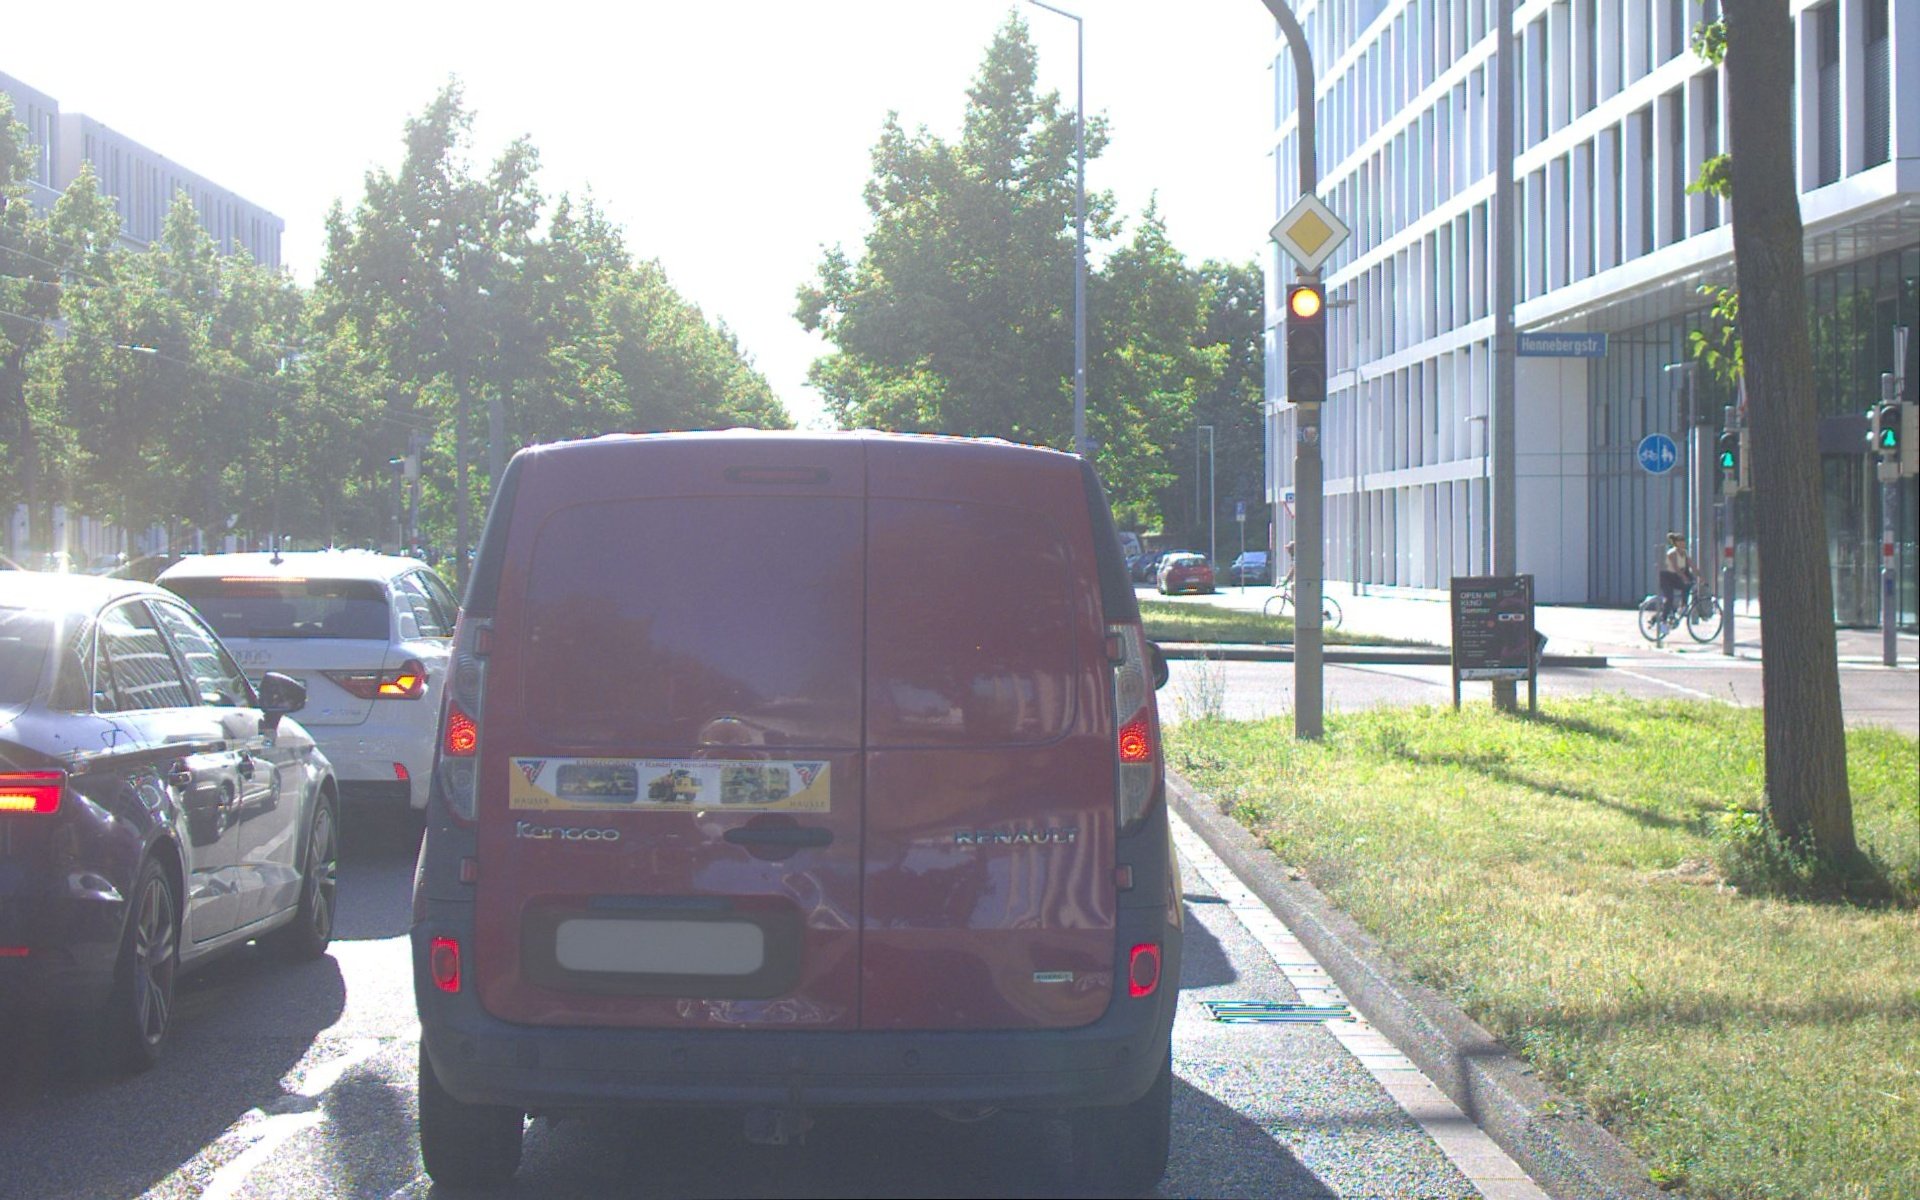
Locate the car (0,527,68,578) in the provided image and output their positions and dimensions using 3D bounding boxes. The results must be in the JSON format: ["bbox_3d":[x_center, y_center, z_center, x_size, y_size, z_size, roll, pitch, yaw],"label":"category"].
[{"bbox_3d":[-36.896,-1.904,136.496,1.993,2.007,4.000,0,1,-1],"label":"car"}]

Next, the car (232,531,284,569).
[{"bbox_3d":[-37.222,-2.671,182.409,1.993,2.007,4.000,0,1,-1],"label":"car"}]

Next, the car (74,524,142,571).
[{"bbox_3d":[-36.976,-2.276,149.322,1.993,2.007,4.000,0,1,-1],"label":"car"}]

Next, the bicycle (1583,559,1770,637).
[{"bbox_3d":[11.333,-0.050,54.447,0.815,1.186,2.950,-1,1,-44],"label":"bicycle"}]

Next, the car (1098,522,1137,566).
[{"bbox_3d":[9.077,-3.252,198.322,1.993,2.488,4.987,0,1,-1],"label":"car"}]

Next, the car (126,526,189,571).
[{"bbox_3d":[-36.963,-2.381,158.423,1.993,2.007,4.000,0,1,-1],"label":"car"}]

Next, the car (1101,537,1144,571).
[{"bbox_3d":[8.491,-2.421,179.812,1.993,1.776,4.000,0,1,-1],"label":"car"}]

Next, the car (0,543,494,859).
[{"bbox_3d":[-3.531,0.429,17.629,1.803,1.421,3.901,0,1,-1],"label":"car"}]

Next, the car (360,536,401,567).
[{"bbox_3d":[-37.541,-3.154,222.865,1.993,2.007,4.000,0,1,-1],"label":"car"}]

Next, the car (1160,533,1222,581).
[{"bbox_3d":[8.579,-1.616,128.018,1.993,1.776,4.000,0,1,-1],"label":"car"}]

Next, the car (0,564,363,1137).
[{"bbox_3d":[-3.168,0.616,10.921,1.842,1.421,4.339,0,1,-1],"label":"car"}]

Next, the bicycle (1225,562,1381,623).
[{"bbox_3d":[6.460,-0.149,64.762,2.839,1.111,0.820,0,1,16],"label":"bicycle"}]

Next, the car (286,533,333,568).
[{"bbox_3d":[-37.672,-2.884,199.223,1.993,2.007,4.000,0,1,-1],"label":"car"}]

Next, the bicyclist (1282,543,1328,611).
[{"bbox_3d":[6.492,-0.436,64.707,0.681,1.270,0.820,0,1,21],"label":"bicyclist"}]

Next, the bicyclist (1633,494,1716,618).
[{"bbox_3d":[11.317,-0.701,54.453,0.815,1.940,1.001,-1,1,-44],"label":"bicyclist"}]

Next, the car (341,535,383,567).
[{"bbox_3d":[-37.752,-3.097,217.241,1.993,2.007,4.000,0,1,-1],"label":"car"}]

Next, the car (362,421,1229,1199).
[{"bbox_3d":[-0.376,0.470,9.327,1.842,1.774,4.000,0,1,-1],"label":"car"}]
